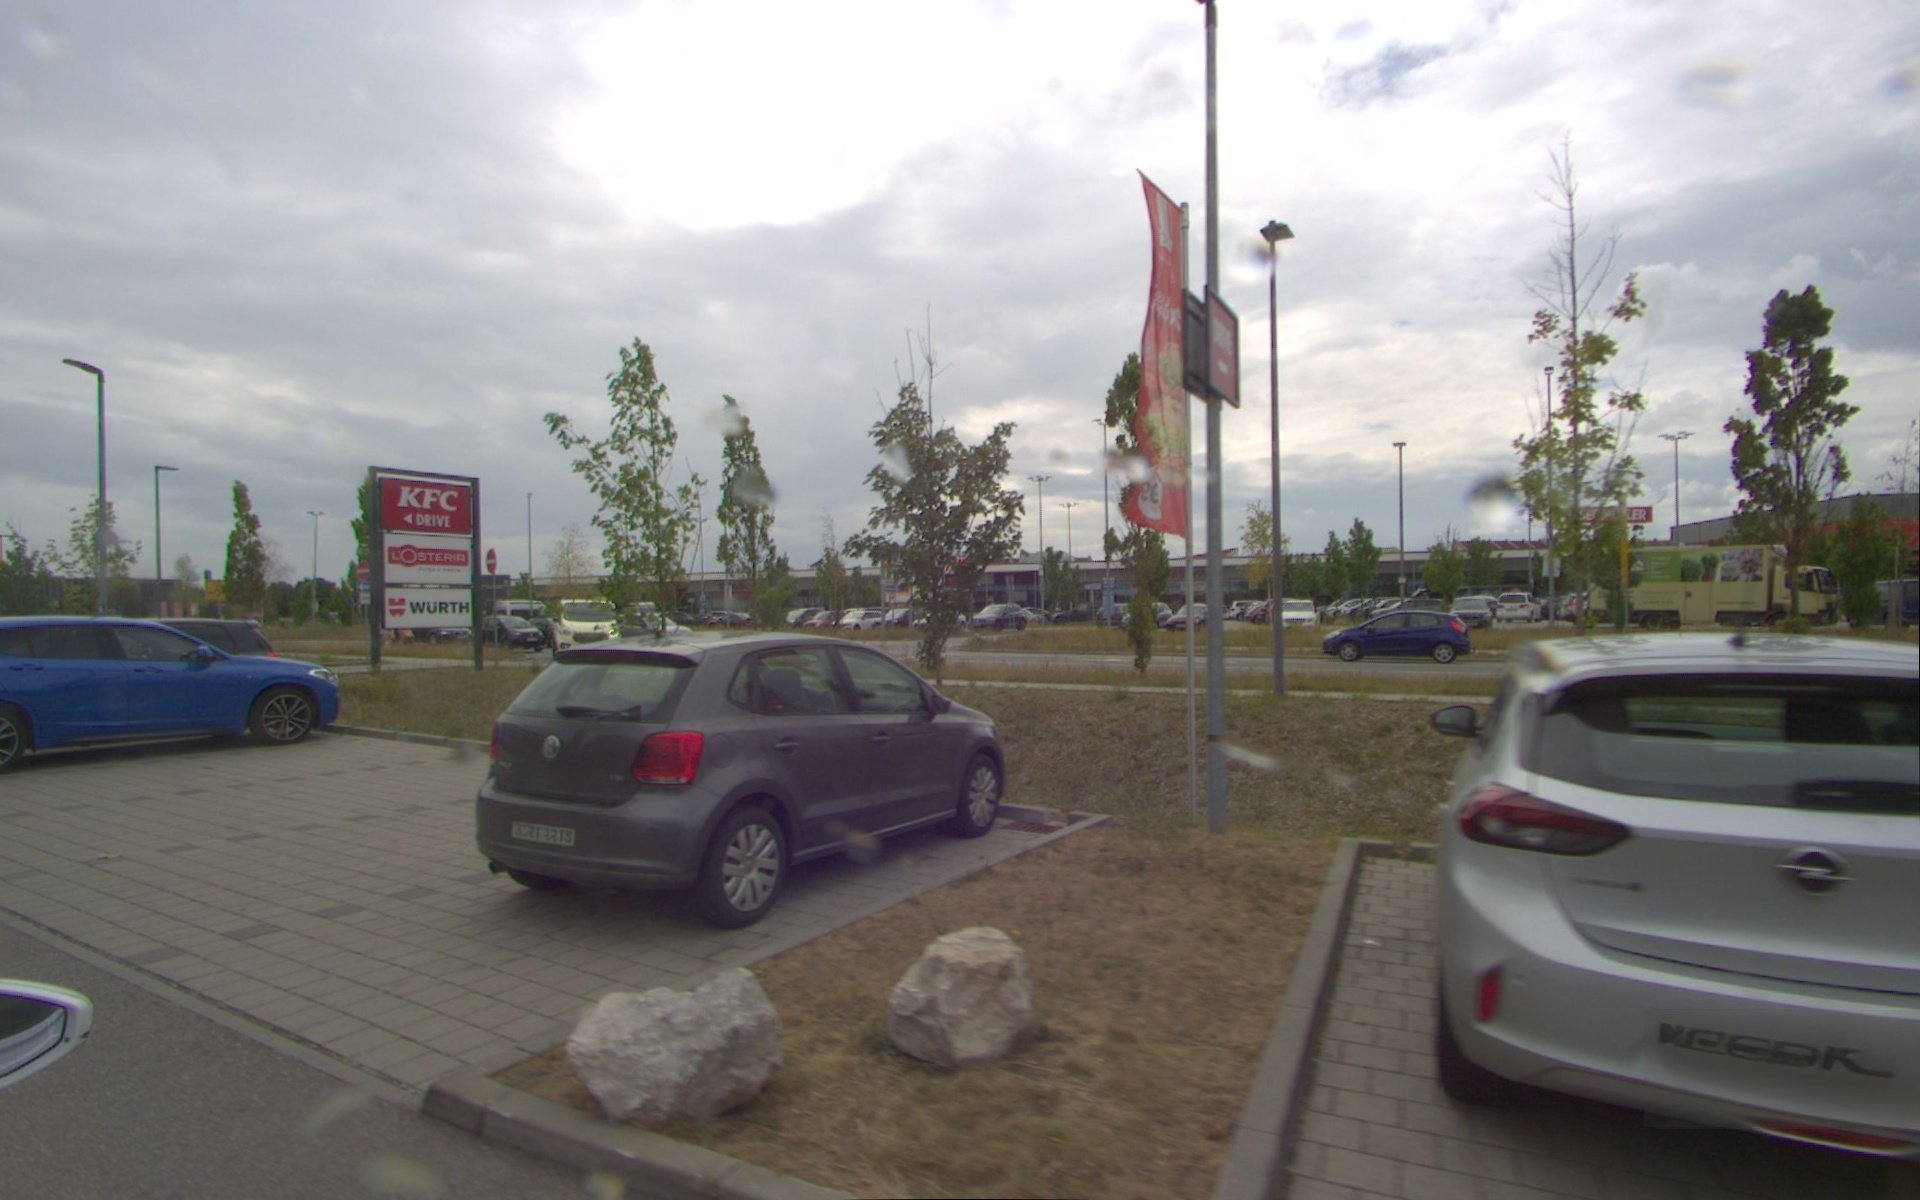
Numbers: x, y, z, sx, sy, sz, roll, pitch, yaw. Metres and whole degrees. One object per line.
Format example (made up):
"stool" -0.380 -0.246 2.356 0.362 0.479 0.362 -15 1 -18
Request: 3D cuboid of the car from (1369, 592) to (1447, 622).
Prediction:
"car" 28.562 0.431 63.970 4.242 1.796 1.997 -1 1 16

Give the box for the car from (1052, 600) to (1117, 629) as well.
"car" 8.463 0.980 67.835 4.111 1.862 1.996 -1 1 17

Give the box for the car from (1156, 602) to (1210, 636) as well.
"car" 11.338 0.946 50.688 1.744 1.560 4.038 -1 1 26

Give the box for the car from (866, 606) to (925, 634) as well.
"car" -3.917 1.231 61.302 1.967 1.560 4.041 -1 1 24

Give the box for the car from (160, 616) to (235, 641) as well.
"car" -49.895 1.876 65.521 4.773 1.573 1.796 -1 1 23

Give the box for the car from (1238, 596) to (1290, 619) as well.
"car" 25.425 0.595 83.727 4.111 1.862 1.996 -1 1 17

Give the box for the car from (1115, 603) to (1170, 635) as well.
"car" 9.562 0.969 52.221 1.744 1.560 4.038 -1 1 26

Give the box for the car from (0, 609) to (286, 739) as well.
"car" -11.428 0.887 13.048 1.751 1.479 4.050 0 0 34

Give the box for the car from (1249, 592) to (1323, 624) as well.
"car" 19.462 0.473 59.928 4.111 1.862 1.996 -1 1 17

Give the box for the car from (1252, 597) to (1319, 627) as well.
"car" 21.029 0.757 64.852 4.111 1.862 1.996 -1 1 17

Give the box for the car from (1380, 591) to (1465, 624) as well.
"car" 27.078 0.435 58.792 4.241 1.796 1.997 -1 1 14

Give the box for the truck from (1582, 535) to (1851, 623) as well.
"truck" 30.728 -0.768 41.113 2.993 3.239 8.366 -2 1 -38

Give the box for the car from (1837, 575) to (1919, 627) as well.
"car" 36.518 0.071 38.800 2.041 1.909 5.061 0 -1 19

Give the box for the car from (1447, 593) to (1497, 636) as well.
"car" 22.672 0.613 44.435 1.901 1.795 4.304 -1 1 26

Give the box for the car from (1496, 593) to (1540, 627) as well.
"car" 30.990 0.521 55.570 1.972 1.795 3.977 -1 1 32

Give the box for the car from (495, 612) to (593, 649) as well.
"car" -18.133 1.311 43.613 4.222 1.519 1.847 -1 0 32

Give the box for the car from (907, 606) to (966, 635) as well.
"car" -1.375 1.193 59.856 1.967 1.560 4.041 -1 1 24

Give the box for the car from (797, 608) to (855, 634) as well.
"car" -8.658 1.342 64.920 1.876 1.560 4.041 -1 1 24

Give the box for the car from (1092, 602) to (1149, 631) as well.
"car" 9.677 0.971 60.110 1.971 1.560 4.137 -1 1 32

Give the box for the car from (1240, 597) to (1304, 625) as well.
"car" 21.030 0.734 67.606 4.111 1.862 1.996 -1 1 17

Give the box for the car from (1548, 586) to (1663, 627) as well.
"car" 30.046 0.299 46.771 4.250 1.796 1.915 -1 1 25

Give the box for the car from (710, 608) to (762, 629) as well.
"car" -20.301 1.664 90.931 4.109 1.862 1.997 -1 1 14

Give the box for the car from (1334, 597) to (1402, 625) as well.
"car" 27.969 0.768 68.737 4.111 1.863 1.996 0 1 17

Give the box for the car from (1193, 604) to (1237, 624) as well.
"car" 24.750 1.309 97.216 4.111 1.862 1.996 -1 1 17

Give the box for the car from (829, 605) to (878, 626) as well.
"car" -10.015 1.428 94.338 4.111 1.862 1.996 -1 1 18

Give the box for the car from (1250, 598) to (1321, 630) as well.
"car" 20.236 0.873 62.374 4.111 1.862 1.996 -1 1 17

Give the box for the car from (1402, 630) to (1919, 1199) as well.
"car" 2.867 0.864 3.937 1.811 1.430 3.926 -1 -3 28

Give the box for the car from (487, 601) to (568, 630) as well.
"car" -34.155 1.197 79.269 2.307 2.150 5.565 -1 1 33

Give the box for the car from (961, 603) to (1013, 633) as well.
"car" 1.609 1.021 57.837 1.743 1.560 3.751 -1 1 24

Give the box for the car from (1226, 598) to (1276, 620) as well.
"car" 25.169 0.795 86.684 4.111 1.862 1.996 -1 1 17

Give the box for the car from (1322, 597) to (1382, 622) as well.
"car" 30.105 0.702 77.003 4.111 1.862 1.996 -1 1 17

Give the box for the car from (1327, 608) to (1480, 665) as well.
"car" 12.545 1.018 28.369 3.858 1.479 1.654 -1 1 27

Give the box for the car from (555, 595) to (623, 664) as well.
"car" -12.395 0.900 33.386 1.966 2.114 5.215 0 0 -21

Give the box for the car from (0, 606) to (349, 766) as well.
"car" -9.522 0.866 11.235 1.838 1.564 4.193 -1 -1 33

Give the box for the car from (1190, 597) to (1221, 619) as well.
"car" 19.316 0.624 78.755 1.965 1.560 4.151 -1 1 19

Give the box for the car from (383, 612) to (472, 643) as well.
"car" -25.202 1.295 47.373 4.154 1.413 1.761 -1 0 28

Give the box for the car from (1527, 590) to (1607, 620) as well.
"car" 38.706 0.300 63.942 3.927 1.796 1.997 -1 1 16

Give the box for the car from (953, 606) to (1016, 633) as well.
"car" 1.783 1.385 72.265 4.111 1.862 1.996 -1 1 17

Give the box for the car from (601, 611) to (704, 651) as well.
"car" -12.181 1.200 39.639 3.945 1.479 1.819 -1 1 34

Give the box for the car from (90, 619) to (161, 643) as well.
"car" -50.568 1.856 60.692 4.488 1.413 1.761 -1 0 28

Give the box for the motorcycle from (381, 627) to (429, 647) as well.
"motorcycle" -23.557 1.569 42.489 1.995 0.784 0.813 0 1 27

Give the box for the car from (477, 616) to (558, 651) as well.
"car" -17.576 1.309 39.757 3.118 1.354 1.458 -1 0 33

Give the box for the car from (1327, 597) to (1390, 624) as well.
"car" 28.992 0.759 72.962 4.111 1.862 1.996 -1 1 17

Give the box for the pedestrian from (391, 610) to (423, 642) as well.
"pedestrian" -23.419 1.091 42.413 0.884 1.299 0.803 5 2 27

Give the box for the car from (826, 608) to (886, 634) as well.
"car" -6.530 1.312 63.465 1.836 1.521 4.056 -1 1 27

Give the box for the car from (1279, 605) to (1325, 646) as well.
"car" 16.418 1.170 48.126 1.965 1.795 4.312 -1 1 19

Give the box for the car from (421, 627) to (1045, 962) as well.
"car" -1.072 0.924 6.507 1.702 1.446 3.983 -1 -2 30
